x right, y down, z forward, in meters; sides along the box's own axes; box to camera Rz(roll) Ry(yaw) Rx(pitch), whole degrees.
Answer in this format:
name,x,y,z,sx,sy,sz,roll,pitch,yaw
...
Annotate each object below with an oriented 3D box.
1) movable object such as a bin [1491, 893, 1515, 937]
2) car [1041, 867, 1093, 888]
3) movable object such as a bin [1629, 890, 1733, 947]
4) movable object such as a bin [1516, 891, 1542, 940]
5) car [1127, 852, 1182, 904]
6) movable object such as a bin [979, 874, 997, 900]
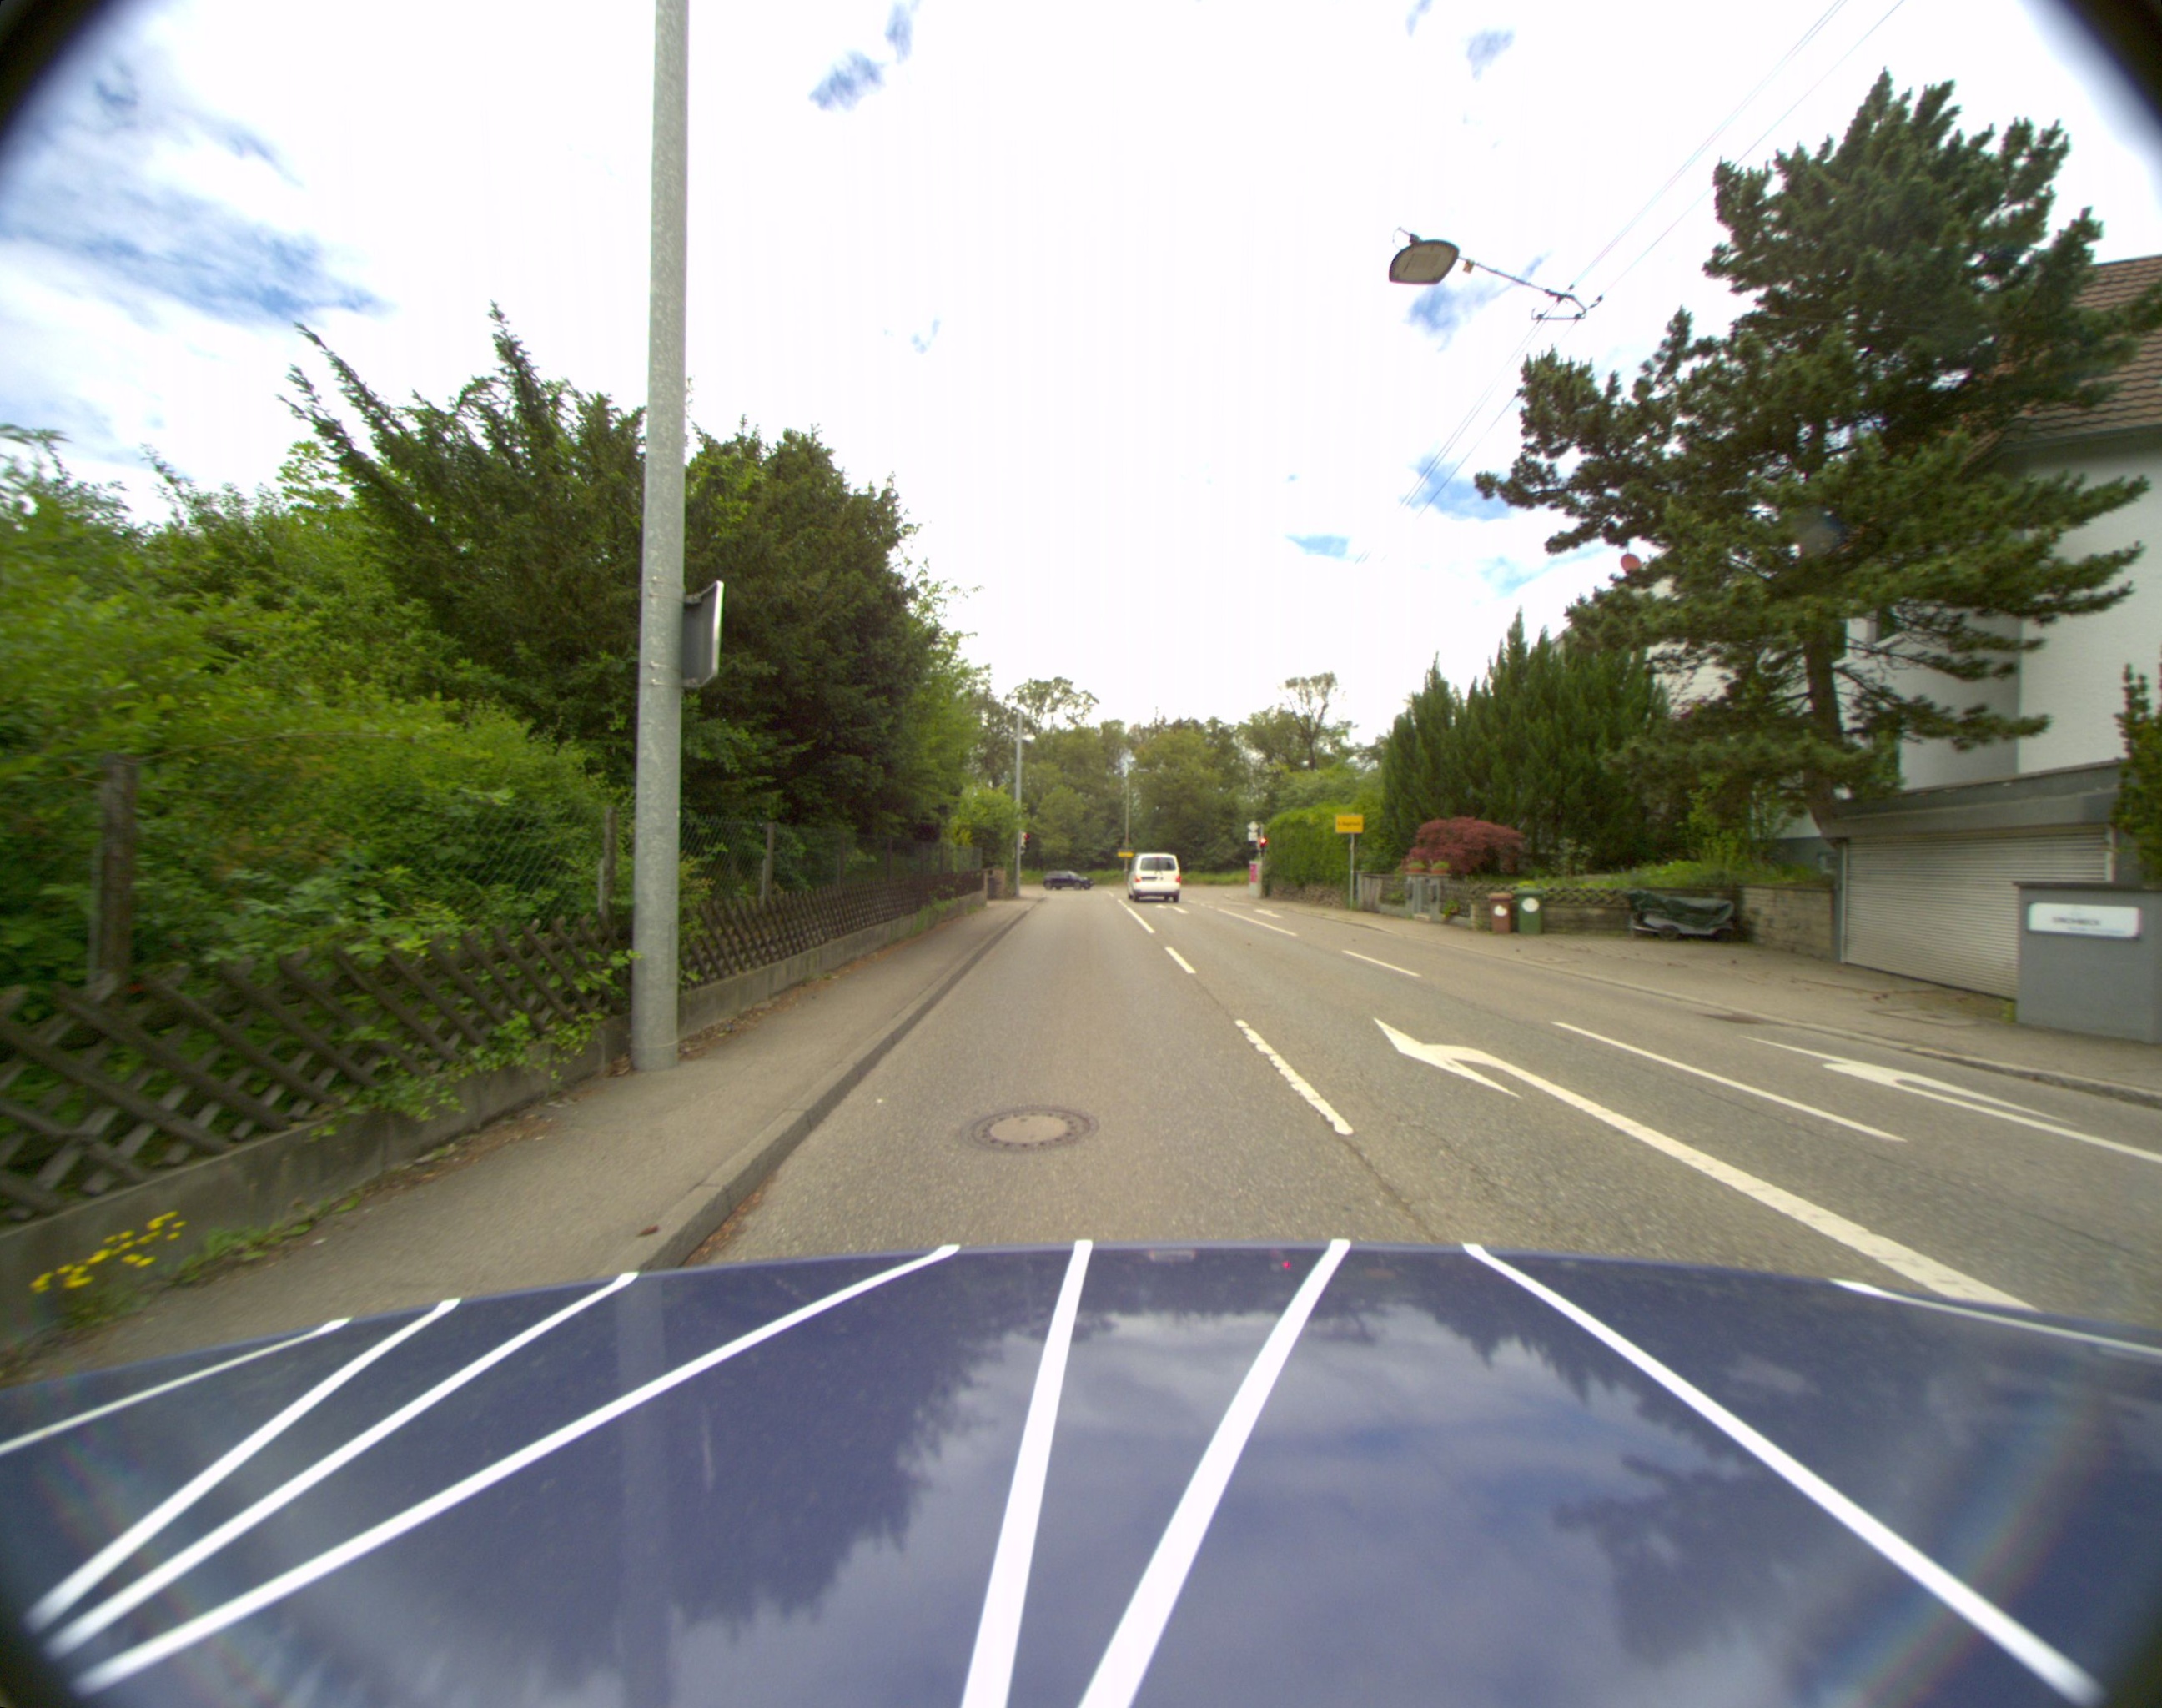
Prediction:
name,x,y,z,sx,sy,sz,roll,pitch,yaw
movable object such as a bin,9.592,1.377,17.267,0.464,0.936,0.648,0,0,29
car,-1.084,1.830,59.377,3.656,1.585,1.667,0,-1,24
movable object such as a bin,12.201,1.289,15.516,1.593,1.074,0.718,-1,0,32
movable object such as a bin,10.018,1.356,17.004,0.479,1.028,0.717,0,0,29
car,3.080,1.000,32.833,1.863,2.035,5.172,1,-1,0
movable object such as a bin,-3.835,1.345,31.350,0.541,1.039,0.508,2,-2,-27
